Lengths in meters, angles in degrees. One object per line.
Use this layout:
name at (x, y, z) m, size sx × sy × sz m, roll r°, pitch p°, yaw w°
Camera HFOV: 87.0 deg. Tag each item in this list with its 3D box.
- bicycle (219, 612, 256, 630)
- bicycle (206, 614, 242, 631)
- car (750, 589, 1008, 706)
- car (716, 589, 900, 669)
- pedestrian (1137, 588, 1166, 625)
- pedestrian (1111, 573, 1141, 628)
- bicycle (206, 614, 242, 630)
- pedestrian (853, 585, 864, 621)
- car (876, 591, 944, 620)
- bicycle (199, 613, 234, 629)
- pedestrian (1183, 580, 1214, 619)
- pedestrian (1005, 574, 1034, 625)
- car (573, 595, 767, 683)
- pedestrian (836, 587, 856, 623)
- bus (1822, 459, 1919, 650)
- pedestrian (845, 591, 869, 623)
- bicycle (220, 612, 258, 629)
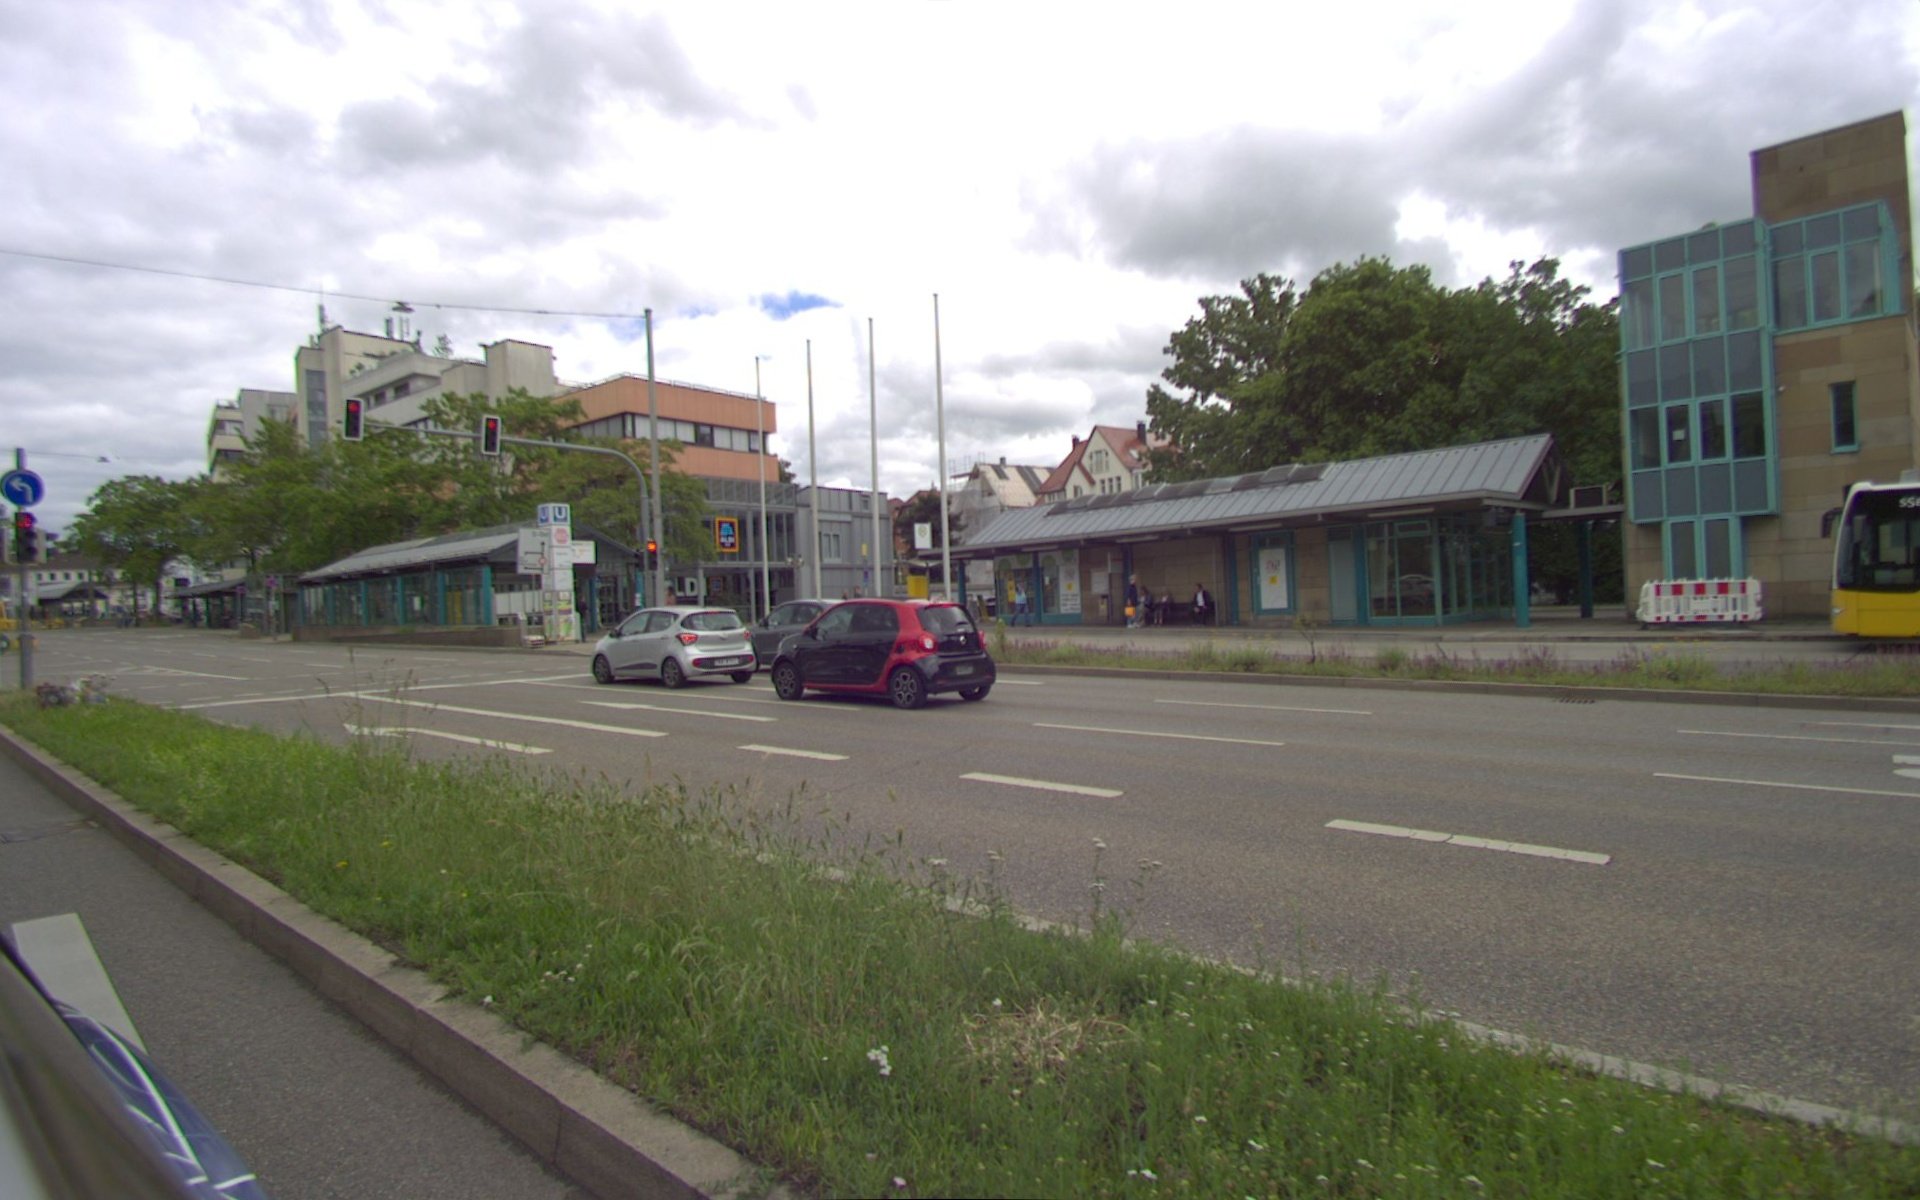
bicycle at (-52.656, 1.507, 73.774) m, size 0.541 × 1.147 × 2.045 m, roll -1°, pitch 2°, yaw 37°
bicycle at (-55.248, 1.674, 75.957) m, size 0.542 × 1.147 × 2.042 m, roll -1°, pitch 2°, yaw 42°
car at (-1.281, 0.631, 15.063) m, size 3.766 × 1.519 × 1.642 m, roll -1°, pitch 0°, yaw 40°
car at (-3.284, 0.571, 21.418) m, size 4.001 × 1.519 × 1.795 m, roll -1°, pitch 1°, yaw 44°
pedestrian at (6.015, 0.195, 31.772) m, size 0.658 × 1.129 × 0.612 m, roll -1°, pitch 0°, yaw 44°
pedestrian at (5.149, 0.008, 31.353) m, size 0.658 × 1.662 × 0.612 m, roll -1°, pitch 0°, yaw 44°
bicycle at (-54.721, 1.623, 75.245) m, size 0.542 × 1.098 × 2.042 m, roll -1°, pitch 2°, yaw 42°
pedestrian at (-4.463, 0.124, 44.542) m, size 0.378 × 1.559 × 0.485 m, roll -2°, pitch 0°, yaw -2°
car at (-2.945, 0.306, 60.232) m, size 1.997 × 1.608 × 3.950 m, roll -1°, pitch 1°, yaw 38°
bicycle at (-56.122, 1.584, 76.375) m, size 0.542 × 1.098 × 2.042 m, roll -1°, pitch 2°, yaw 42°
pedestrian at (7.179, -0.013, 30.476) m, size 0.658 × 1.129 × 0.612 m, roll -1°, pitch 0°, yaw 44°
pedestrian at (1.957, -0.011, 33.275) m, size 0.658 × 1.662 × 0.612 m, roll -1°, pitch 0°, yaw 44°
car at (-5.573, 0.721, 19.248) m, size 3.787 × 1.476 × 1.727 m, roll -2°, pitch 0°, yaw 41°
pedestrian at (-4.947, 0.219, 43.936) m, size 0.743 × 1.559 × 0.531 m, roll -2°, pitch 0°, yaw -2°
bus at (19.278, -0.879, 15.132) m, size 2.743 × 3.155 × 9.447 m, roll -4°, pitch 2°, yaw -43°
pedestrian at (-4.798, 0.325, 47.163) m, size 0.992 × 1.472 × 0.583 m, roll -1°, pitch 1°, yaw 43°
bicycle at (-52.117, 1.477, 73.177) m, size 0.541 × 1.098 × 2.180 m, roll -1°, pitch 2°, yaw 37°
